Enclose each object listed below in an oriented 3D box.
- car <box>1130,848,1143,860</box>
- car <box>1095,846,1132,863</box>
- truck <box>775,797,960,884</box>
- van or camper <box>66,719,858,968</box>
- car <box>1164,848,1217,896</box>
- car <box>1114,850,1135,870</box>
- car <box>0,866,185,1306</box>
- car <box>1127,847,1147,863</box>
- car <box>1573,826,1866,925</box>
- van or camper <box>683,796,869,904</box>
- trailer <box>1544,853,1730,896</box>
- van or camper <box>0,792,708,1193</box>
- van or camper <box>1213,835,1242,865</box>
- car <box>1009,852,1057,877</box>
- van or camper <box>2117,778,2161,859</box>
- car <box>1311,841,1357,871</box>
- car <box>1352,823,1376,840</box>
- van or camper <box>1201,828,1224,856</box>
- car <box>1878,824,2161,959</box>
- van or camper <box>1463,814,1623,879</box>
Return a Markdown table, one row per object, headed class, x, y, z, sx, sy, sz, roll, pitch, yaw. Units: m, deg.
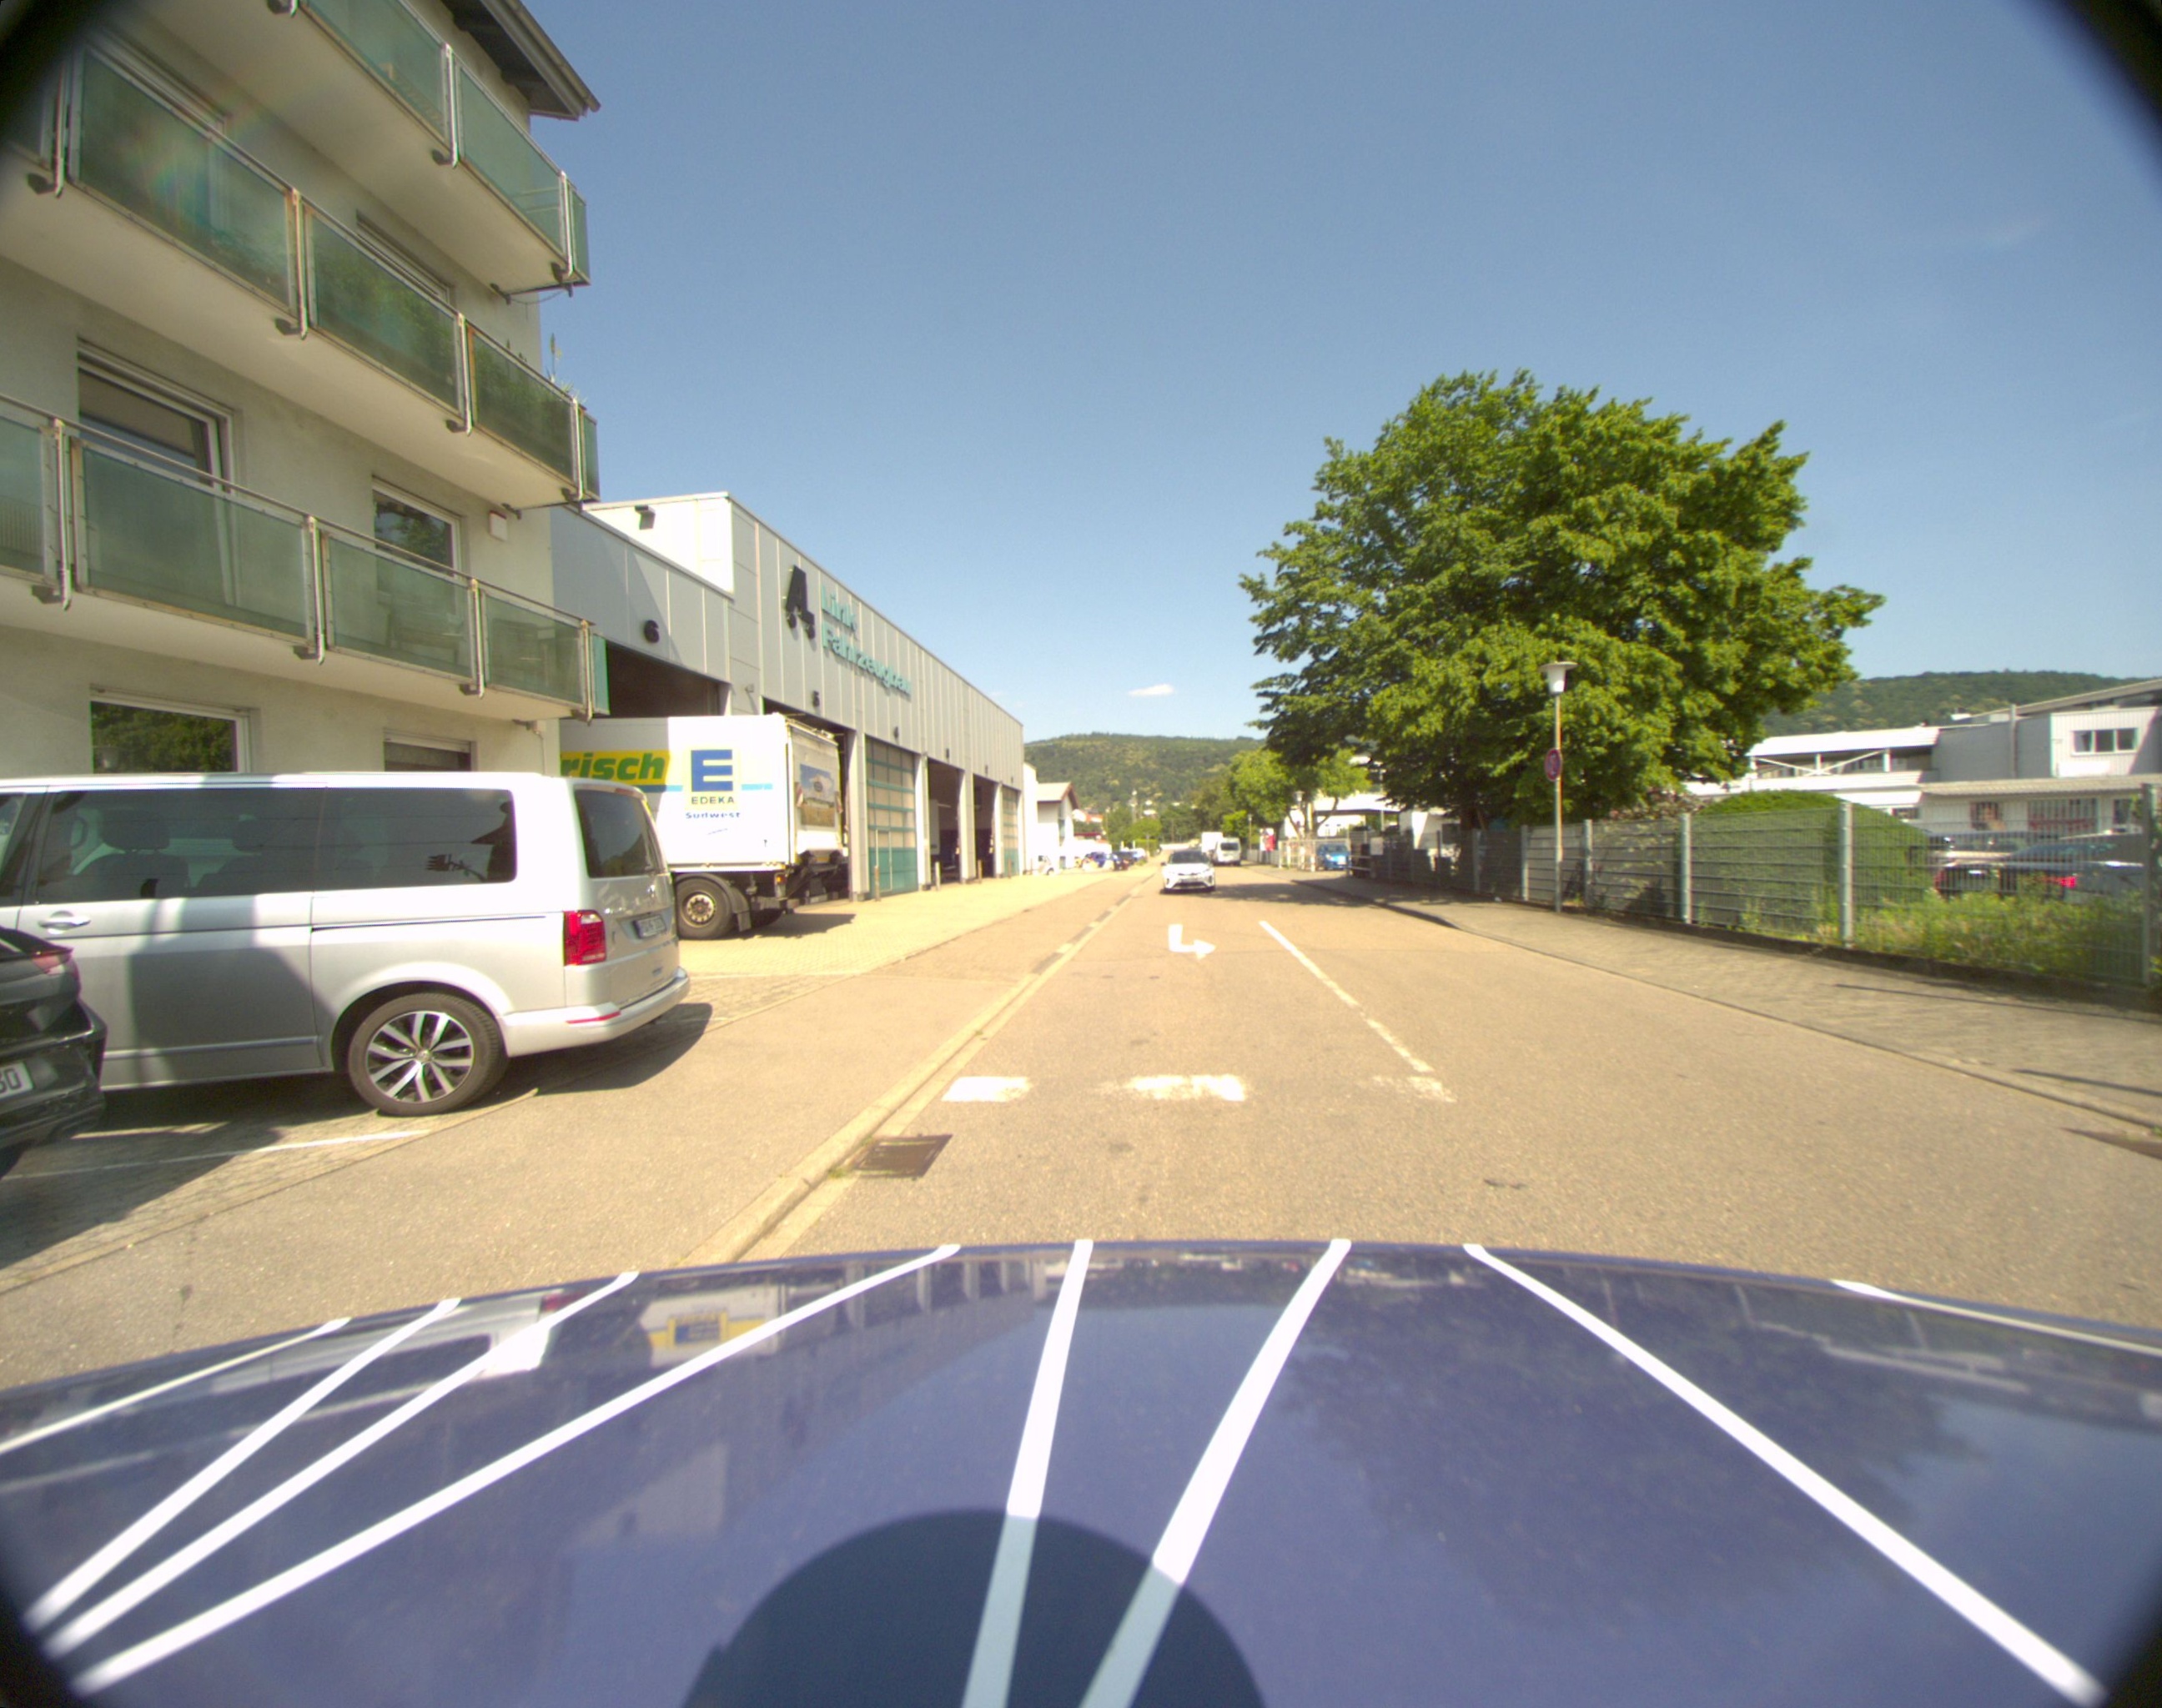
| class | x | y | z | sx | sy | sz | roll | pitch | yaw |
| --- | --- | --- | --- | --- | --- | --- | --- | --- | --- |
| car | 6.940 | 0.008 | 94.524 | 1.451 | 1.371 | 3.187 | -4 | 1 | 4 |
| car | 2.721 | 0.061 | 63.792 | 2.973 | 1.332 | 1.454 | -1 | 1 | 8 |
| truck | -9.916 | -0.587 | 35.573 | 7.850 | 3.760 | 2.626 | -1 | 1 | 8 |
| van or camper | -10.218 | -0.165 | 13.428 | 11.628 | 3.672 | 2.781 | -1 | 1 | 1 |
| car | 3.914 | 0.575 | 27.362 | 1.735 | 1.521 | 4.111 | -1 | 1 | 8 |
| car | 3.147 | 0.412 | 54.565 | 1.451 | 1.371 | 3.187 | -2 | 1 | 4 |
| car | -5.607 | 0.868 | 1.855 | 3.976 | 1.512 | 1.877 | -2 | 1 | -17 |
| car | 5.496 | 0.083 | 74.788 | 1.452 | 1.487 | 3.185 | -4 | 1 | -3 |
| car | 10.282 | 0.333 | 12.465 | 3.384 | 1.476 | 1.518 | -1 | 1 | 9 |
| van or camper | -9.760 | -0.133 | 24.551 | 5.053 | 3.188 | 2.000 | -2 | 1 | 6 |
| trailer | 13.411 | 0.482 | 18.509 | 3.288 | 0.934 | 1.613 | -1 | 1 | 9 |
| van or camper | -5.031 | 0.653 | 4.637 | 4.557 | 1.897 | 1.998 | -1 | 0 | -13 |
| van or camper | 12.265 | -0.383 | 63.919 | 2.027 | 2.363 | 4.687 | 0 | 1 | 7 |
| car | -3.082 | 0.667 | 48.831 | 2.828 | 1.525 | 1.309 | -2 | -1 | -39 |
| van or camper | 32.788 | -1.071 | 21.150 | 4.594 | 2.293 | 1.783 | -1 | 2 | 14 |
| car | 13.759 | 0.088 | 41.489 | 1.644 | 1.449 | 3.526 | -4 | 1 | 6 |
| car | 26.723 | -2.109 | 71.776 | 1.705 | 1.449 | 3.531 | -1 | 1 | 27 |
| van or camper | 16.219 | -1.495 | 93.917 | 2.524 | 3.351 | 5.593 | -1 | 1 | 7 |
| car | 13.075 | 0.401 | 9.650 | 3.832 | 1.533 | 1.857 | -1 | 1 | 4 |
| van or camper | 15.494 | -0.248 | 25.667 | 4.190 | 1.853 | 1.775 | -4 | 1 | 9 |
